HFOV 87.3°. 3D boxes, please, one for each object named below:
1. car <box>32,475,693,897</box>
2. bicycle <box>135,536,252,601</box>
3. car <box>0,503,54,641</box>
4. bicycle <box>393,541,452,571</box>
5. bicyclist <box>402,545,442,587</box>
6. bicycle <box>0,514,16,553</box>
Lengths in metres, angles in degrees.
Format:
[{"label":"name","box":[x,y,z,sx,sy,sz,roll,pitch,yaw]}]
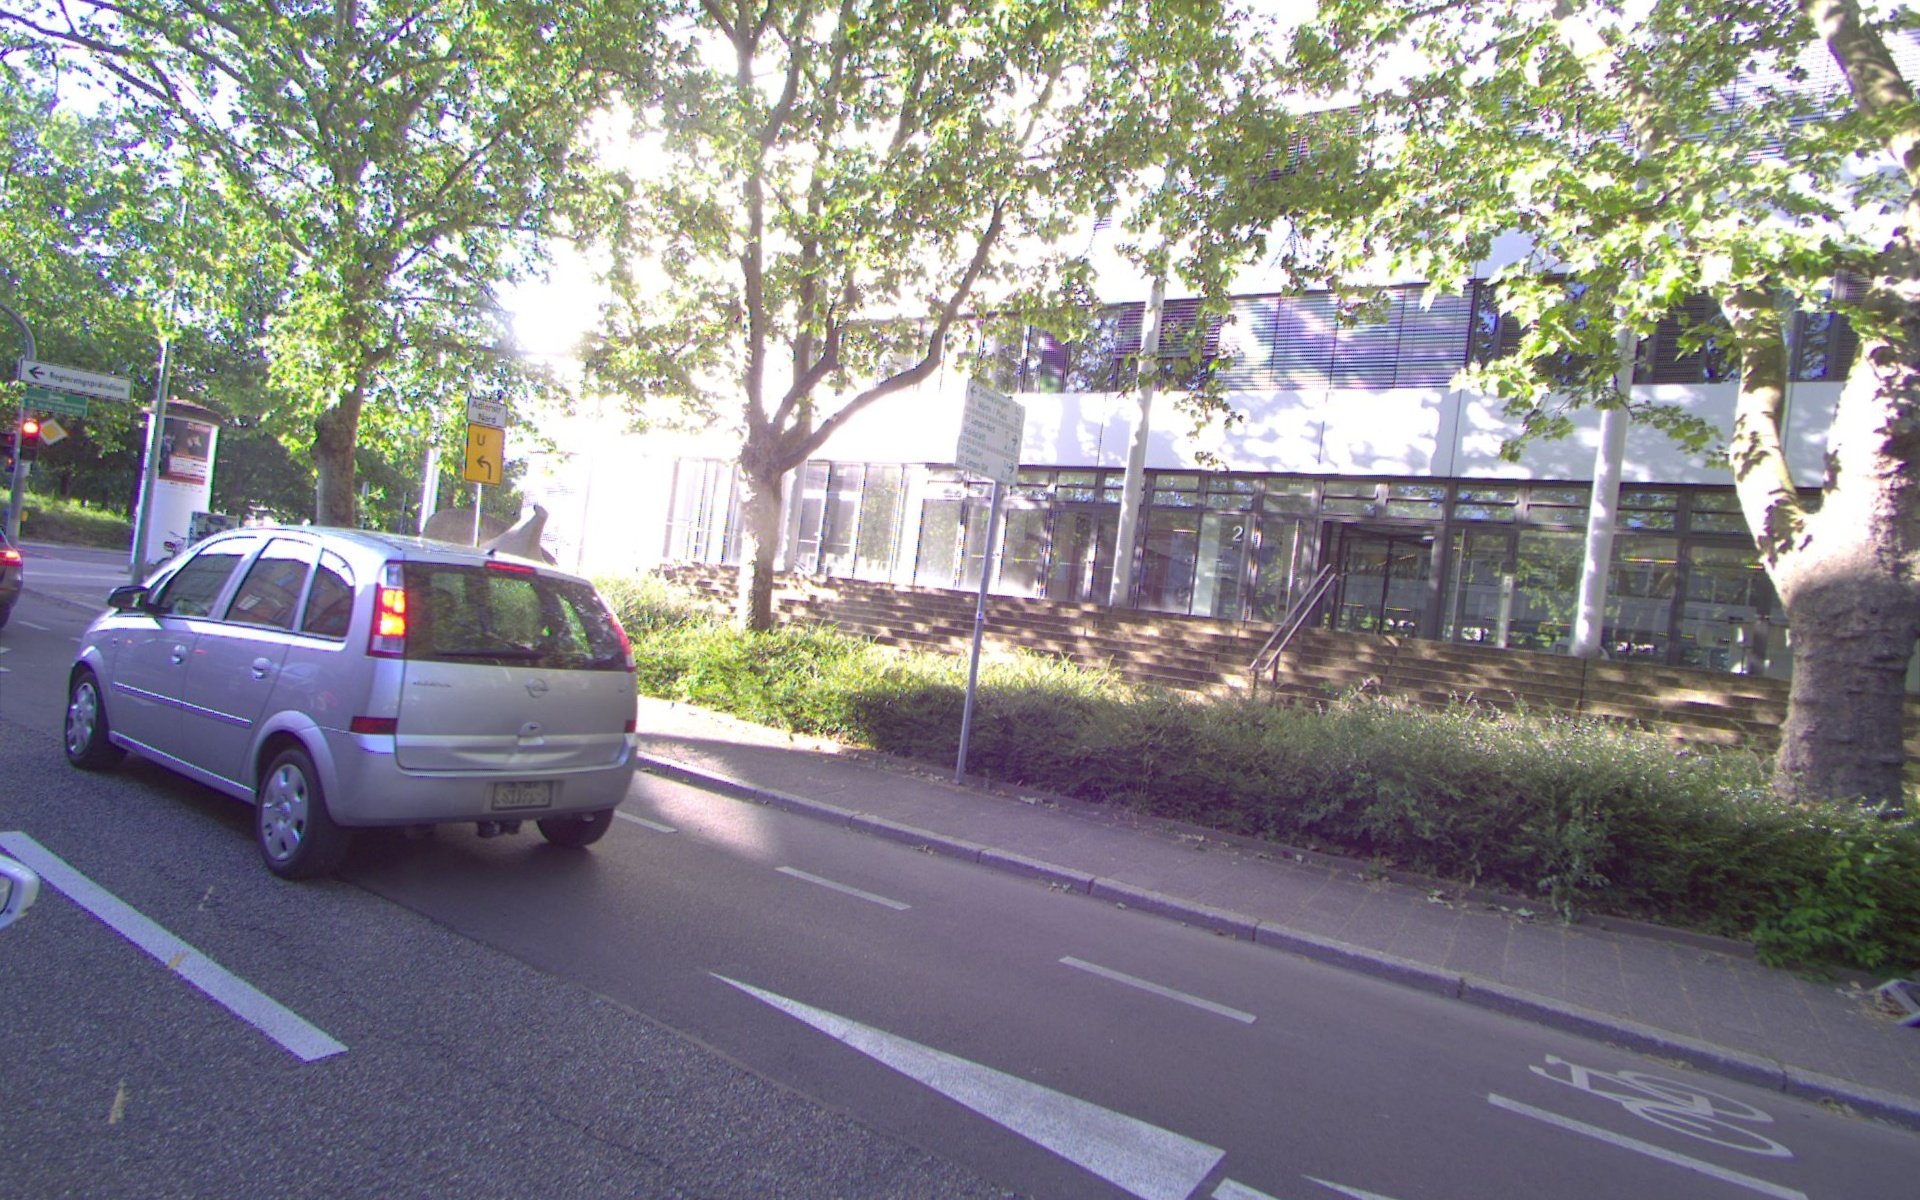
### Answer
[{"label":"car","box":[-3.584,0.298,5.843,3.797,1.622,1.703,7,-1,34]},{"label":"bicycle","box":[-15.978,-0.644,21.015,0.502,1.110,1.806,7,-1,34]},{"label":"car","box":[-12.685,-0.600,11.662,4.592,1.481,1.917,7,-2,32]},{"label":"bicycle","box":[-21.528,-1.772,40.310,0.714,0.892,1.895,7,-2,35]},{"label":"bicyclist","box":[-21.561,-1.361,40.324,0.706,1.537,1.075,7,0,36]},{"label":"bicycle","box":[-27.607,-1.973,27.838,0.641,1.040,1.983,7,-1,33]}]
